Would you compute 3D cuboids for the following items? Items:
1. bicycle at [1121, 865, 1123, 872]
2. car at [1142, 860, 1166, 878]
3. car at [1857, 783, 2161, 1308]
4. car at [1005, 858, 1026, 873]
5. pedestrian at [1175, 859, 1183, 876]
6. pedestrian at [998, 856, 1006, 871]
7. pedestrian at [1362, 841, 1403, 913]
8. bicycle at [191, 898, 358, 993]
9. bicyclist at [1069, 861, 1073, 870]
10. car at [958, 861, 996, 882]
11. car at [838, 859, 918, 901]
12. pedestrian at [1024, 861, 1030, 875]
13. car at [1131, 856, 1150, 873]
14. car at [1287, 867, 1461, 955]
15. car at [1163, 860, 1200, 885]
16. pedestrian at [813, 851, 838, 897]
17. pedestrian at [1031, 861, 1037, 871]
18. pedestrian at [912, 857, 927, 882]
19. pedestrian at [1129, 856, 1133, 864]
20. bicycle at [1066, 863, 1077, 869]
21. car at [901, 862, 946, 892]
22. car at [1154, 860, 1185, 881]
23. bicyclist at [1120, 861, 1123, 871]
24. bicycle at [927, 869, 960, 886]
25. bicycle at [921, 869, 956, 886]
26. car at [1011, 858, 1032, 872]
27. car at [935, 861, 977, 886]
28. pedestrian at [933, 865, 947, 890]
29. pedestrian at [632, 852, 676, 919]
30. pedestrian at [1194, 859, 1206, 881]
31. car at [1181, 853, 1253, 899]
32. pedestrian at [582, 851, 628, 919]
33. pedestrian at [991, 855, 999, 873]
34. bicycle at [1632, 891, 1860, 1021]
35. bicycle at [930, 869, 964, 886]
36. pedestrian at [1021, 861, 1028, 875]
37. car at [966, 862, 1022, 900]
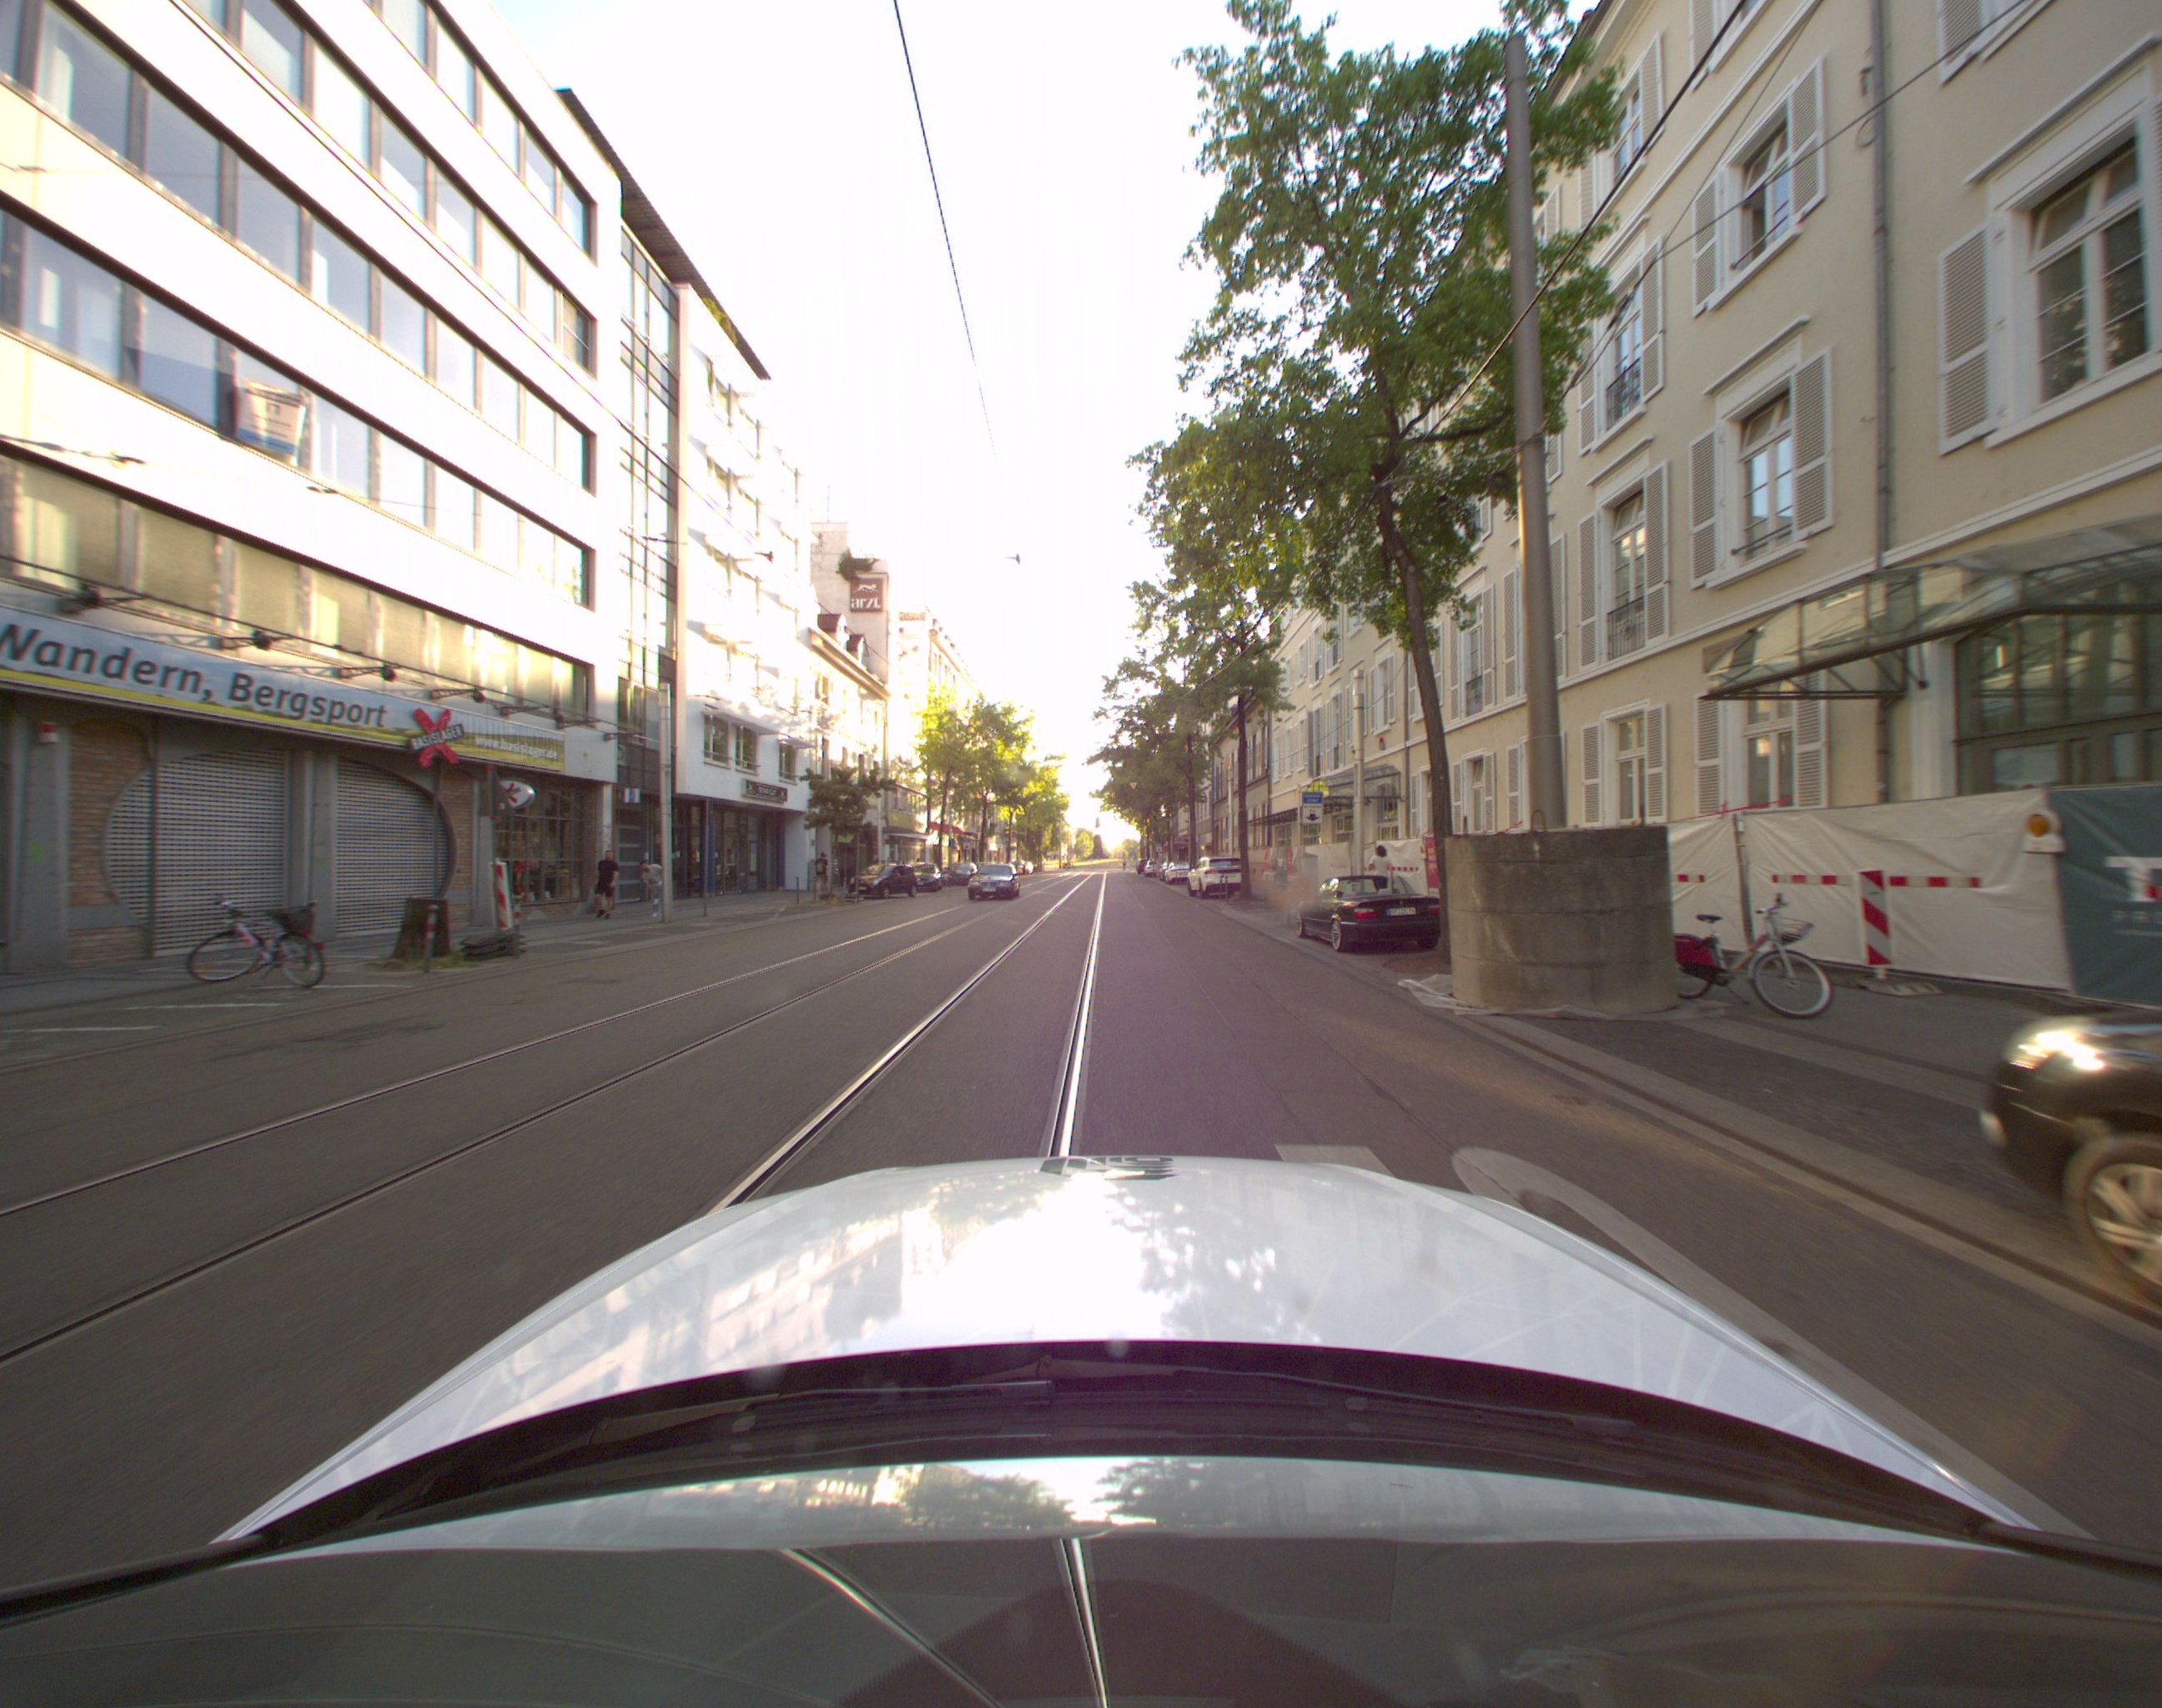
[{"bbox_3d":[5.849,2.044,116.616,0.263,0.983,1.341,0,-1,7],"label":"bicycle"},{"bbox_3d":[6.986,1.405,77.981,1.986,1.498,4.682,-4,0,2],"label":"car"},{"bbox_3d":[4.542,0.610,1.673,1.943,1.793,4.321,-2,-1,5],"label":"car"},{"bbox_3d":[-7.160,1.287,89.838,1.829,1.580,4.118,0,0,2],"label":"car"},{"bbox_3d":[9.575,1.321,79.358,0.641,1.670,0.786,-3,-1,1],"label":"pedestrian"},{"bbox_3d":[-9.051,1.096,92.999,0.719,1.760,1.090,0,-1,2],"label":"pedestrian"},{"bbox_3d":[8.227,0.614,22.258,0.710,1.887,1.053,-2,-1,2],"label":"pedestrian"},{"bbox_3d":[-9.880,1.103,9.989,1.735,0.992,0.479,3,0,8],"label":"bicycle"},{"bbox_3d":[-1.506,1.782,127.327,0.533,1.438,0.368,-1,-1,10],"label":"bicyclist"},{"bbox_3d":[-7.558,1.251,59.667,1.758,1.497,4.182,0,-1,7],"label":"car"},{"bbox_3d":[-8.586,1.057,34.747,1.618,1.616,3.724,1,0,16],"label":"car"},{"bbox_3d":[-5.818,1.498,87.656,0.519,1.569,0.634,-1,-2,2],"label":"pedestrian"},{"bbox_3d":[6.976,1.218,95.884,1.931,1.759,4.681,-4,-1,2],"label":"car"},{"bbox_3d":[5.228,0.941,15.180,1.787,1.311,4.331,-2,-1,2],"label":"car"},{"bbox_3d":[6.384,1.164,52.119,1.905,1.420,4.890,-3,-1,2],"label":"car"},{"bbox_3d":[-10.498,0.826,33.446,0.657,1.825,0.879,2,-1,2],"label":"pedestrian"},{"bbox_3d":[-6.493,1.649,112.976,0.726,1.290,0.856,0,-1,-1],"label":"pedestrian"},{"bbox_3d":[-11.197,1.089,56.454,0.786,1.693,0.914,-1,-1,1],"label":"pedestrian"},{"bbox_3d":[9.674,1.107,157.004,0.634,1.606,0.771,-1,0,-1],"label":"pedestrian"},{"bbox_3d":[-1.529,1.878,127.300,1.721,0.864,0.368,0,-1,9],"label":"bicycle"},{"bbox_3d":[-8.258,1.182,43.065,1.788,1.490,4.236,1,-1,-4],"label":"car"},{"bbox_3d":[6.732,1.243,62.365,1.826,1.478,4.762,-2,-1,1],"label":"car"},{"bbox_3d":[5.839,1.733,116.549,0.426,1.481,0.467,0,-1,6],"label":"bicyclist"},{"bbox_3d":[-8.432,1.426,49.915,1.962,1.001,0.331,0,-1,3],"label":"bicycle"},{"bbox_3d":[-8.380,1.393,47.833,1.962,1.001,0.331,0,-1,4],"label":"bicycle"},{"bbox_3d":[-6.917,1.321,94.869,1.829,1.580,4.704,0,0,2],"label":"car"},{"bbox_3d":[-7.812,1.178,51.254,1.705,1.461,4.488,1,-1,2],"label":"car"},{"bbox_3d":[-9.821,1.640,56.760,0.841,1.693,0.740,-1,-1,1],"label":"pedestrian"},{"bbox_3d":[-11.333,0.822,21.626,0.638,1.713,0.830,1,-1,5],"label":"pedestrian"},{"bbox_3d":[10.212,1.365,69.808,0.855,1.753,0.933,-3,-1,1],"label":"pedestrian"},{"bbox_3d":[5.565,0.900,33.952,1.992,1.688,4.964,-2,-1,-1],"label":"car"},{"bbox_3d":[-12.204,0.786,20.885,0.624,1.713,0.809,1,-1,5],"label":"pedestrian"},{"bbox_3d":[-9.829,1.104,93.021,0.719,2.014,0.643,0,-1,1],"label":"pedestrian"},{"bbox_3d":[6.589,0.955,8.183,0.655,1.071,1.664,-2,0,-17],"label":"bicycle"},{"bbox_3d":[-8.145,1.422,49.522,1.962,1.001,0.331,0,-1,4],"label":"bicycle"},{"bbox_3d":[-5.998,1.517,86.889,0.617,1.509,0.730,-1,-2,2],"label":"pedestrian"},{"bbox_3d":[-3.429,1.023,32.907,1.773,1.407,4.526,0,0,0],"label":"car"}]
